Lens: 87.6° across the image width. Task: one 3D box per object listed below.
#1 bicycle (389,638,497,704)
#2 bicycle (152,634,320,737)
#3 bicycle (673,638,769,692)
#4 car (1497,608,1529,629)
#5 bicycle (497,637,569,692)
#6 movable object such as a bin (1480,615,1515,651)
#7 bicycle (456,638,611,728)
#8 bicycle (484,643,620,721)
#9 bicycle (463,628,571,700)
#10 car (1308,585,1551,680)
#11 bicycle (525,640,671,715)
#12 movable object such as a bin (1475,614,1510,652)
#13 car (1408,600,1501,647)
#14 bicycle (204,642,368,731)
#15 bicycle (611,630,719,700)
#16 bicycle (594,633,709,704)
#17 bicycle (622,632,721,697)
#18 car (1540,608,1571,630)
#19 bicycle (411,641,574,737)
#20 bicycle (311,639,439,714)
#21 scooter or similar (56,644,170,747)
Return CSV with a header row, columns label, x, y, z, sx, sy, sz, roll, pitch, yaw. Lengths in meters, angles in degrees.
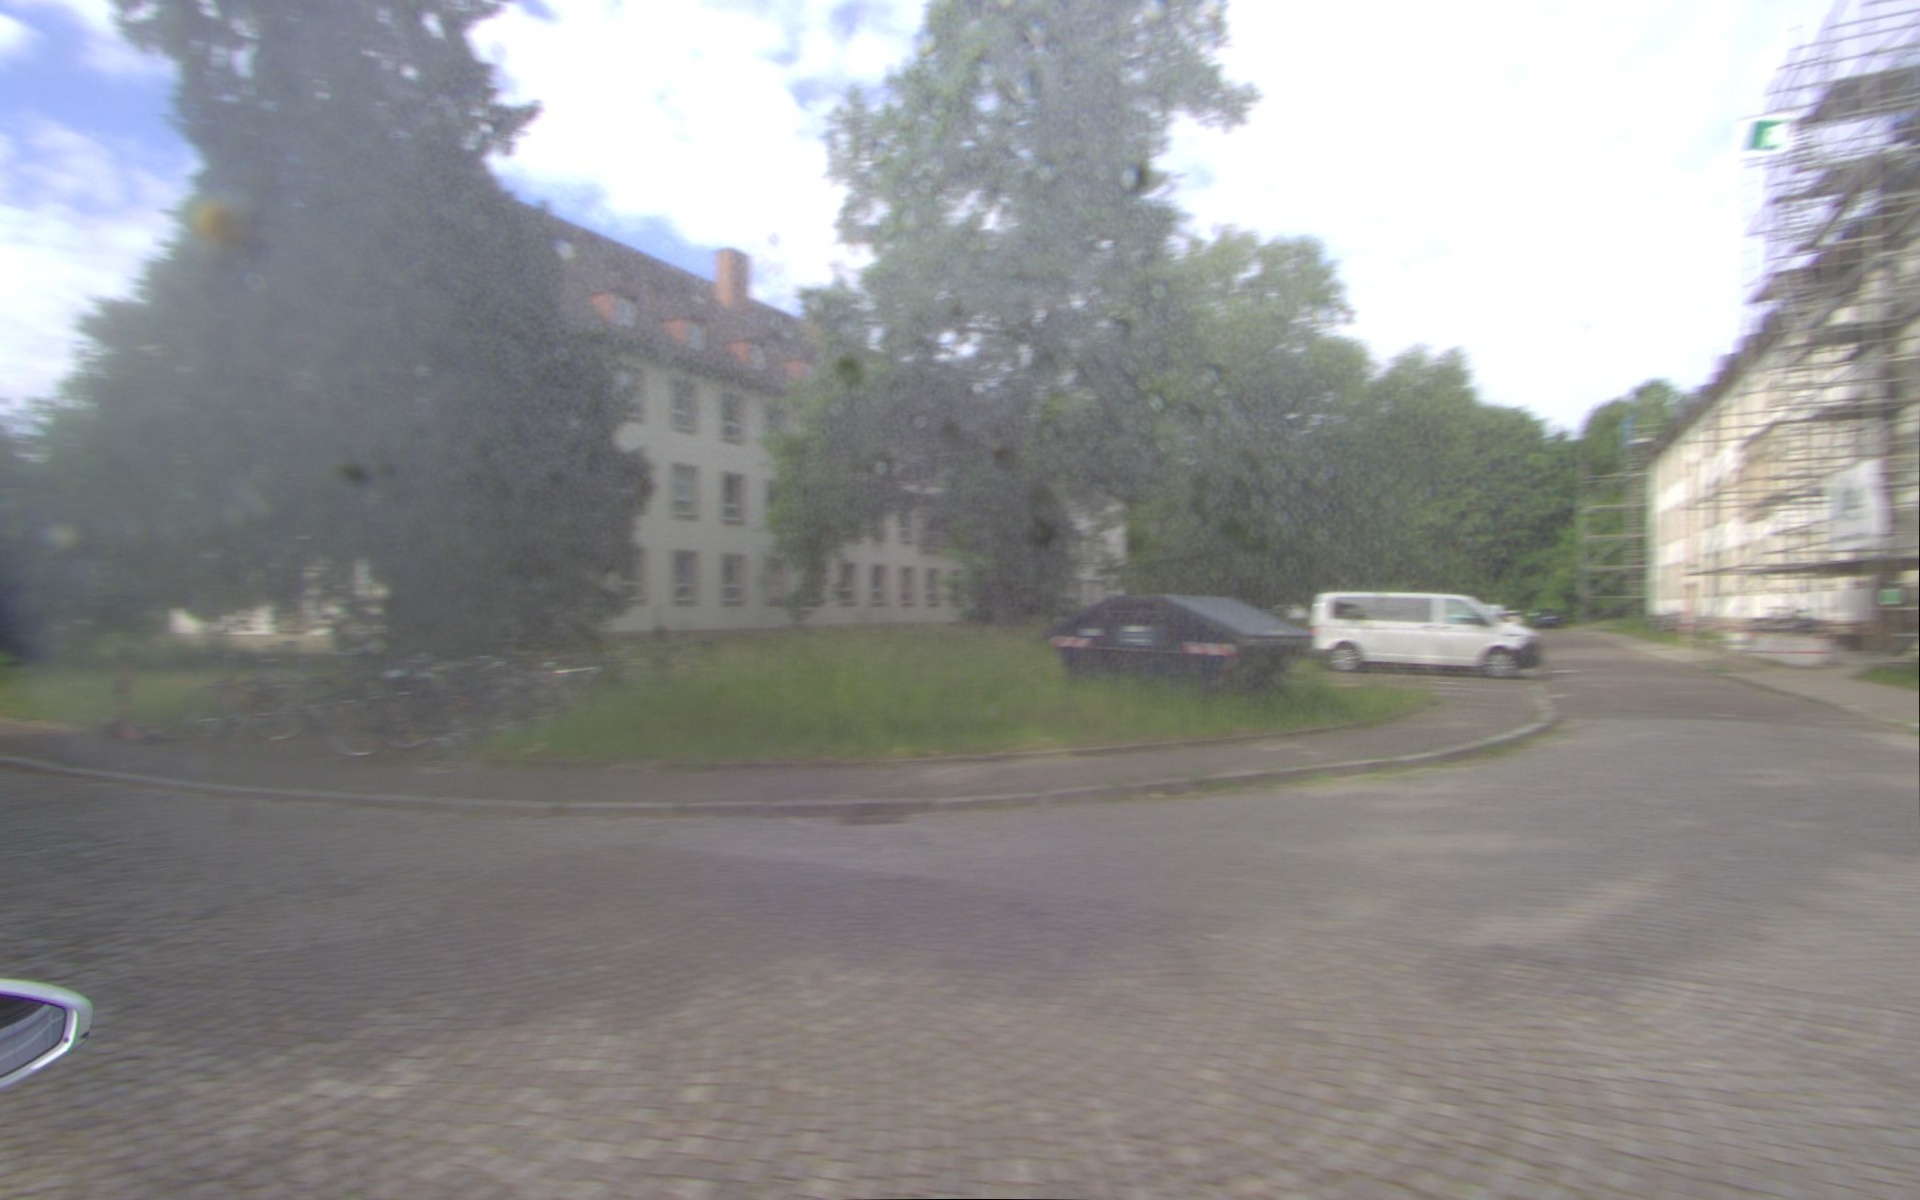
label,x,y,z,sx,sy,sz,roll,pitch,yaw
bicycle,-8.627,1.178,16.732,1.487,1.050,0.545,0,2,-1
bicycle,-9.455,1.095,13.097,1.865,1.240,0.643,0,2,10
bicycle,-4.320,1.173,18.118,1.591,0.923,0.526,-1,2,10
car,44.753,1.480,81.127,1.975,1.568,3.946,3,0,26
bicycle,-8.216,1.239,19.260,1.239,1.042,0.434,-1,-2,10
movable object such as a bin,22.047,1.342,41.089,1.169,1.426,0.971,3,1,30
bicycle,-5.678,1.101,13.363,1.765,1.118,0.702,-1,2,10
bicycle,-5.732,1.143,14.095,1.664,1.015,0.631,-1,2,10
bicycle,-7.705,1.108,17.451,1.612,1.202,0.574,0,2,4
car,11.414,0.729,24.540,5.136,2.087,2.180,1,0,28
bicycle,-5.360,1.142,14.863,1.923,1.018,0.685,-1,2,10
movable object such as a bin,21.299,1.320,40.066,1.169,1.426,0.971,3,1,30
car,24.048,1.142,48.845,3.934,2.040,1.916,3,0,25
bicycle,-9.273,1.169,13.796,1.953,1.130,0.643,0,2,10
bicycle,-5.050,1.115,17.150,1.670,1.132,0.541,-1,2,10
bicycle,-5.107,1.132,16.601,1.743,1.120,0.541,-1,2,10
bicycle,-5.098,1.136,17.714,1.591,1.073,0.526,-1,2,10
car,47.561,1.529,79.945,2.039,1.614,3.981,3,0,31
bicycle,-5.895,1.121,12.653,1.740,1.118,0.702,-1,2,10
bicycle,-8.906,1.157,15.279,1.598,1.088,0.539,0,2,-1
scooter or similar,-10.826,1.185,12.792,1.531,1.211,0.678,-1,1,33
